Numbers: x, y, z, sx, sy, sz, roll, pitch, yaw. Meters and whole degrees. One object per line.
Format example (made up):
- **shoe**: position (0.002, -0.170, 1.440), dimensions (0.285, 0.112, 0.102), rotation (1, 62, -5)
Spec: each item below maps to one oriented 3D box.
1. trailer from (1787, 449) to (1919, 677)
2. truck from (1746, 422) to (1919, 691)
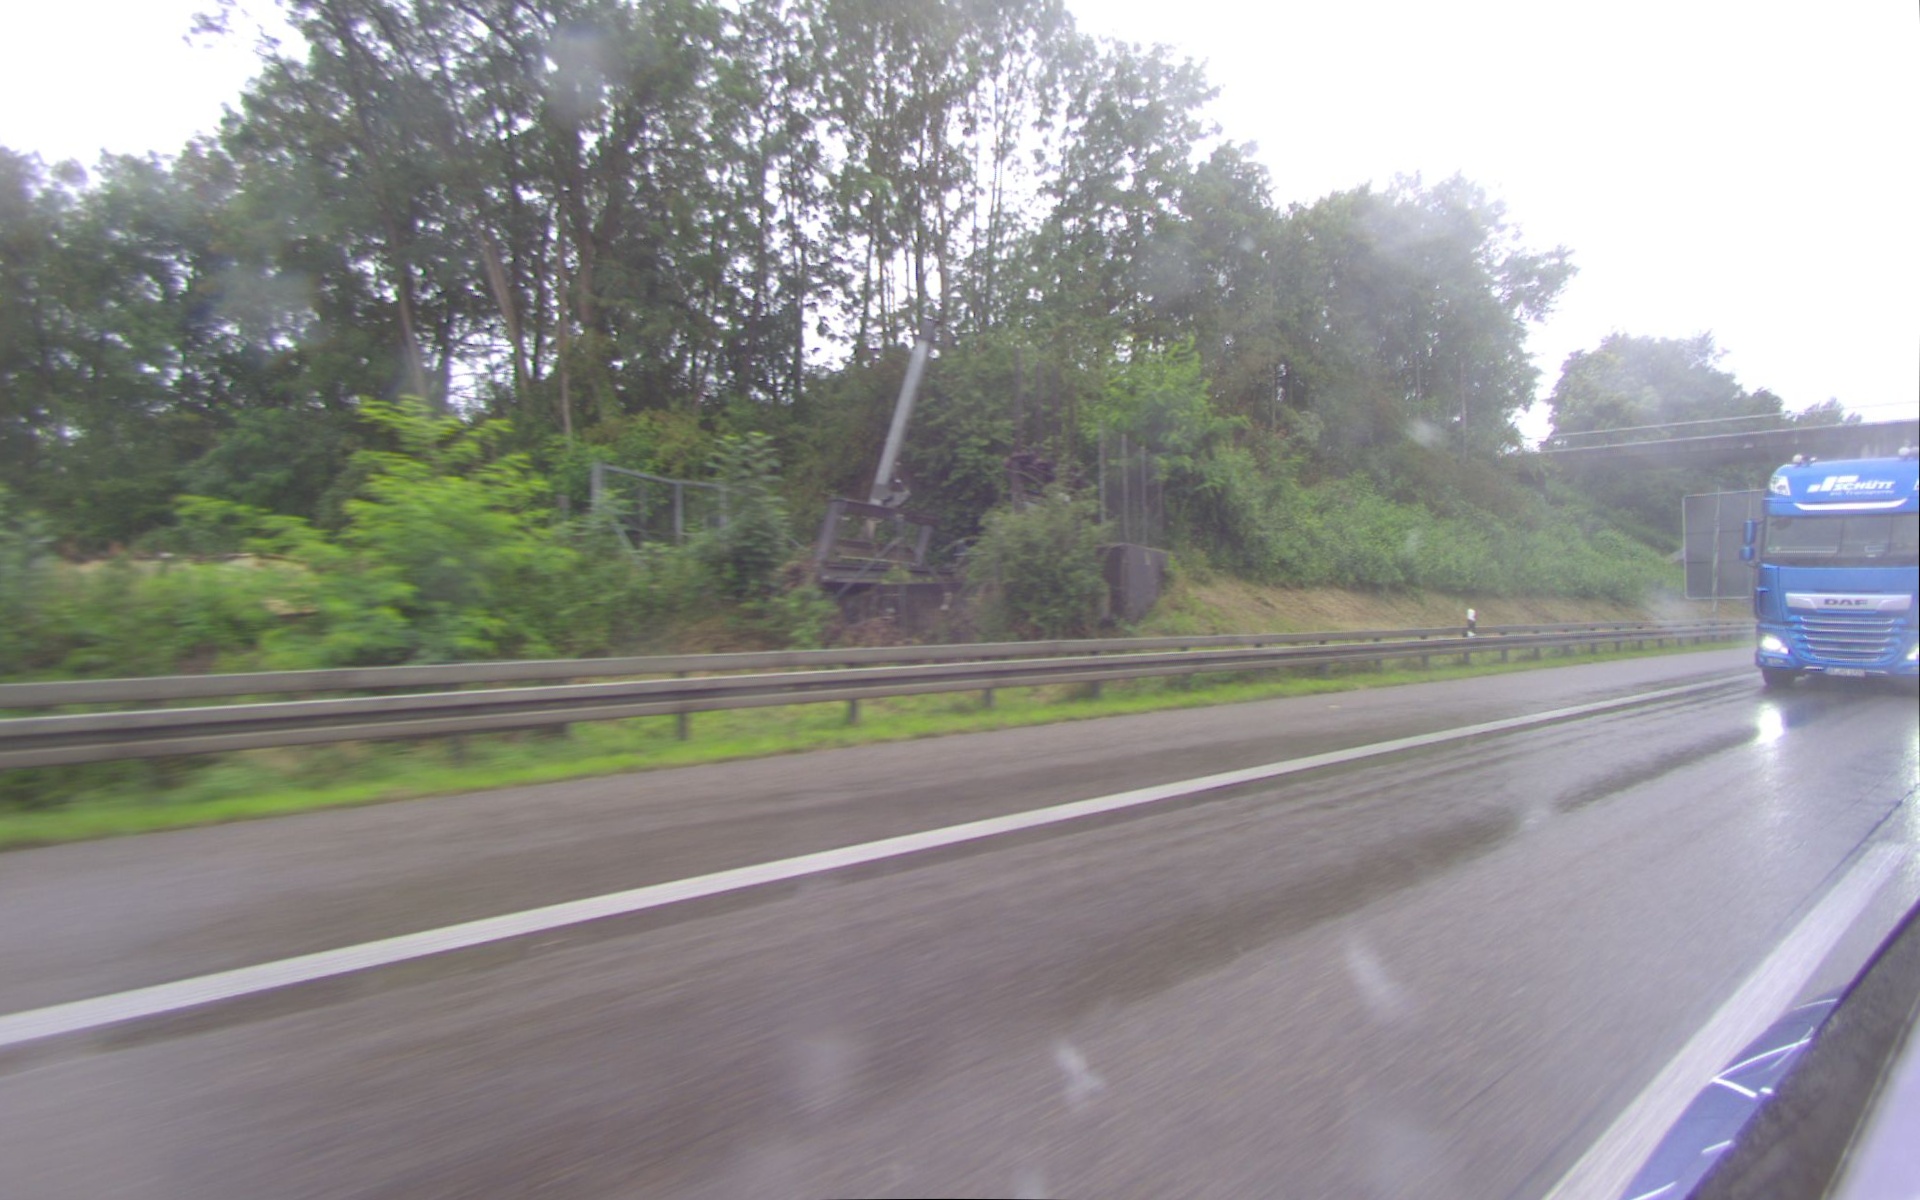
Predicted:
- **trailer**: position (21.846, -0.715, 22.615), dimensions (13.880, 4.014, 2.749), rotation (-1, 0, -40)
- **truck**: position (16.675, -0.712, 18.216), dimensions (6.368, 4.129, 2.754), rotation (-1, 1, -40)
